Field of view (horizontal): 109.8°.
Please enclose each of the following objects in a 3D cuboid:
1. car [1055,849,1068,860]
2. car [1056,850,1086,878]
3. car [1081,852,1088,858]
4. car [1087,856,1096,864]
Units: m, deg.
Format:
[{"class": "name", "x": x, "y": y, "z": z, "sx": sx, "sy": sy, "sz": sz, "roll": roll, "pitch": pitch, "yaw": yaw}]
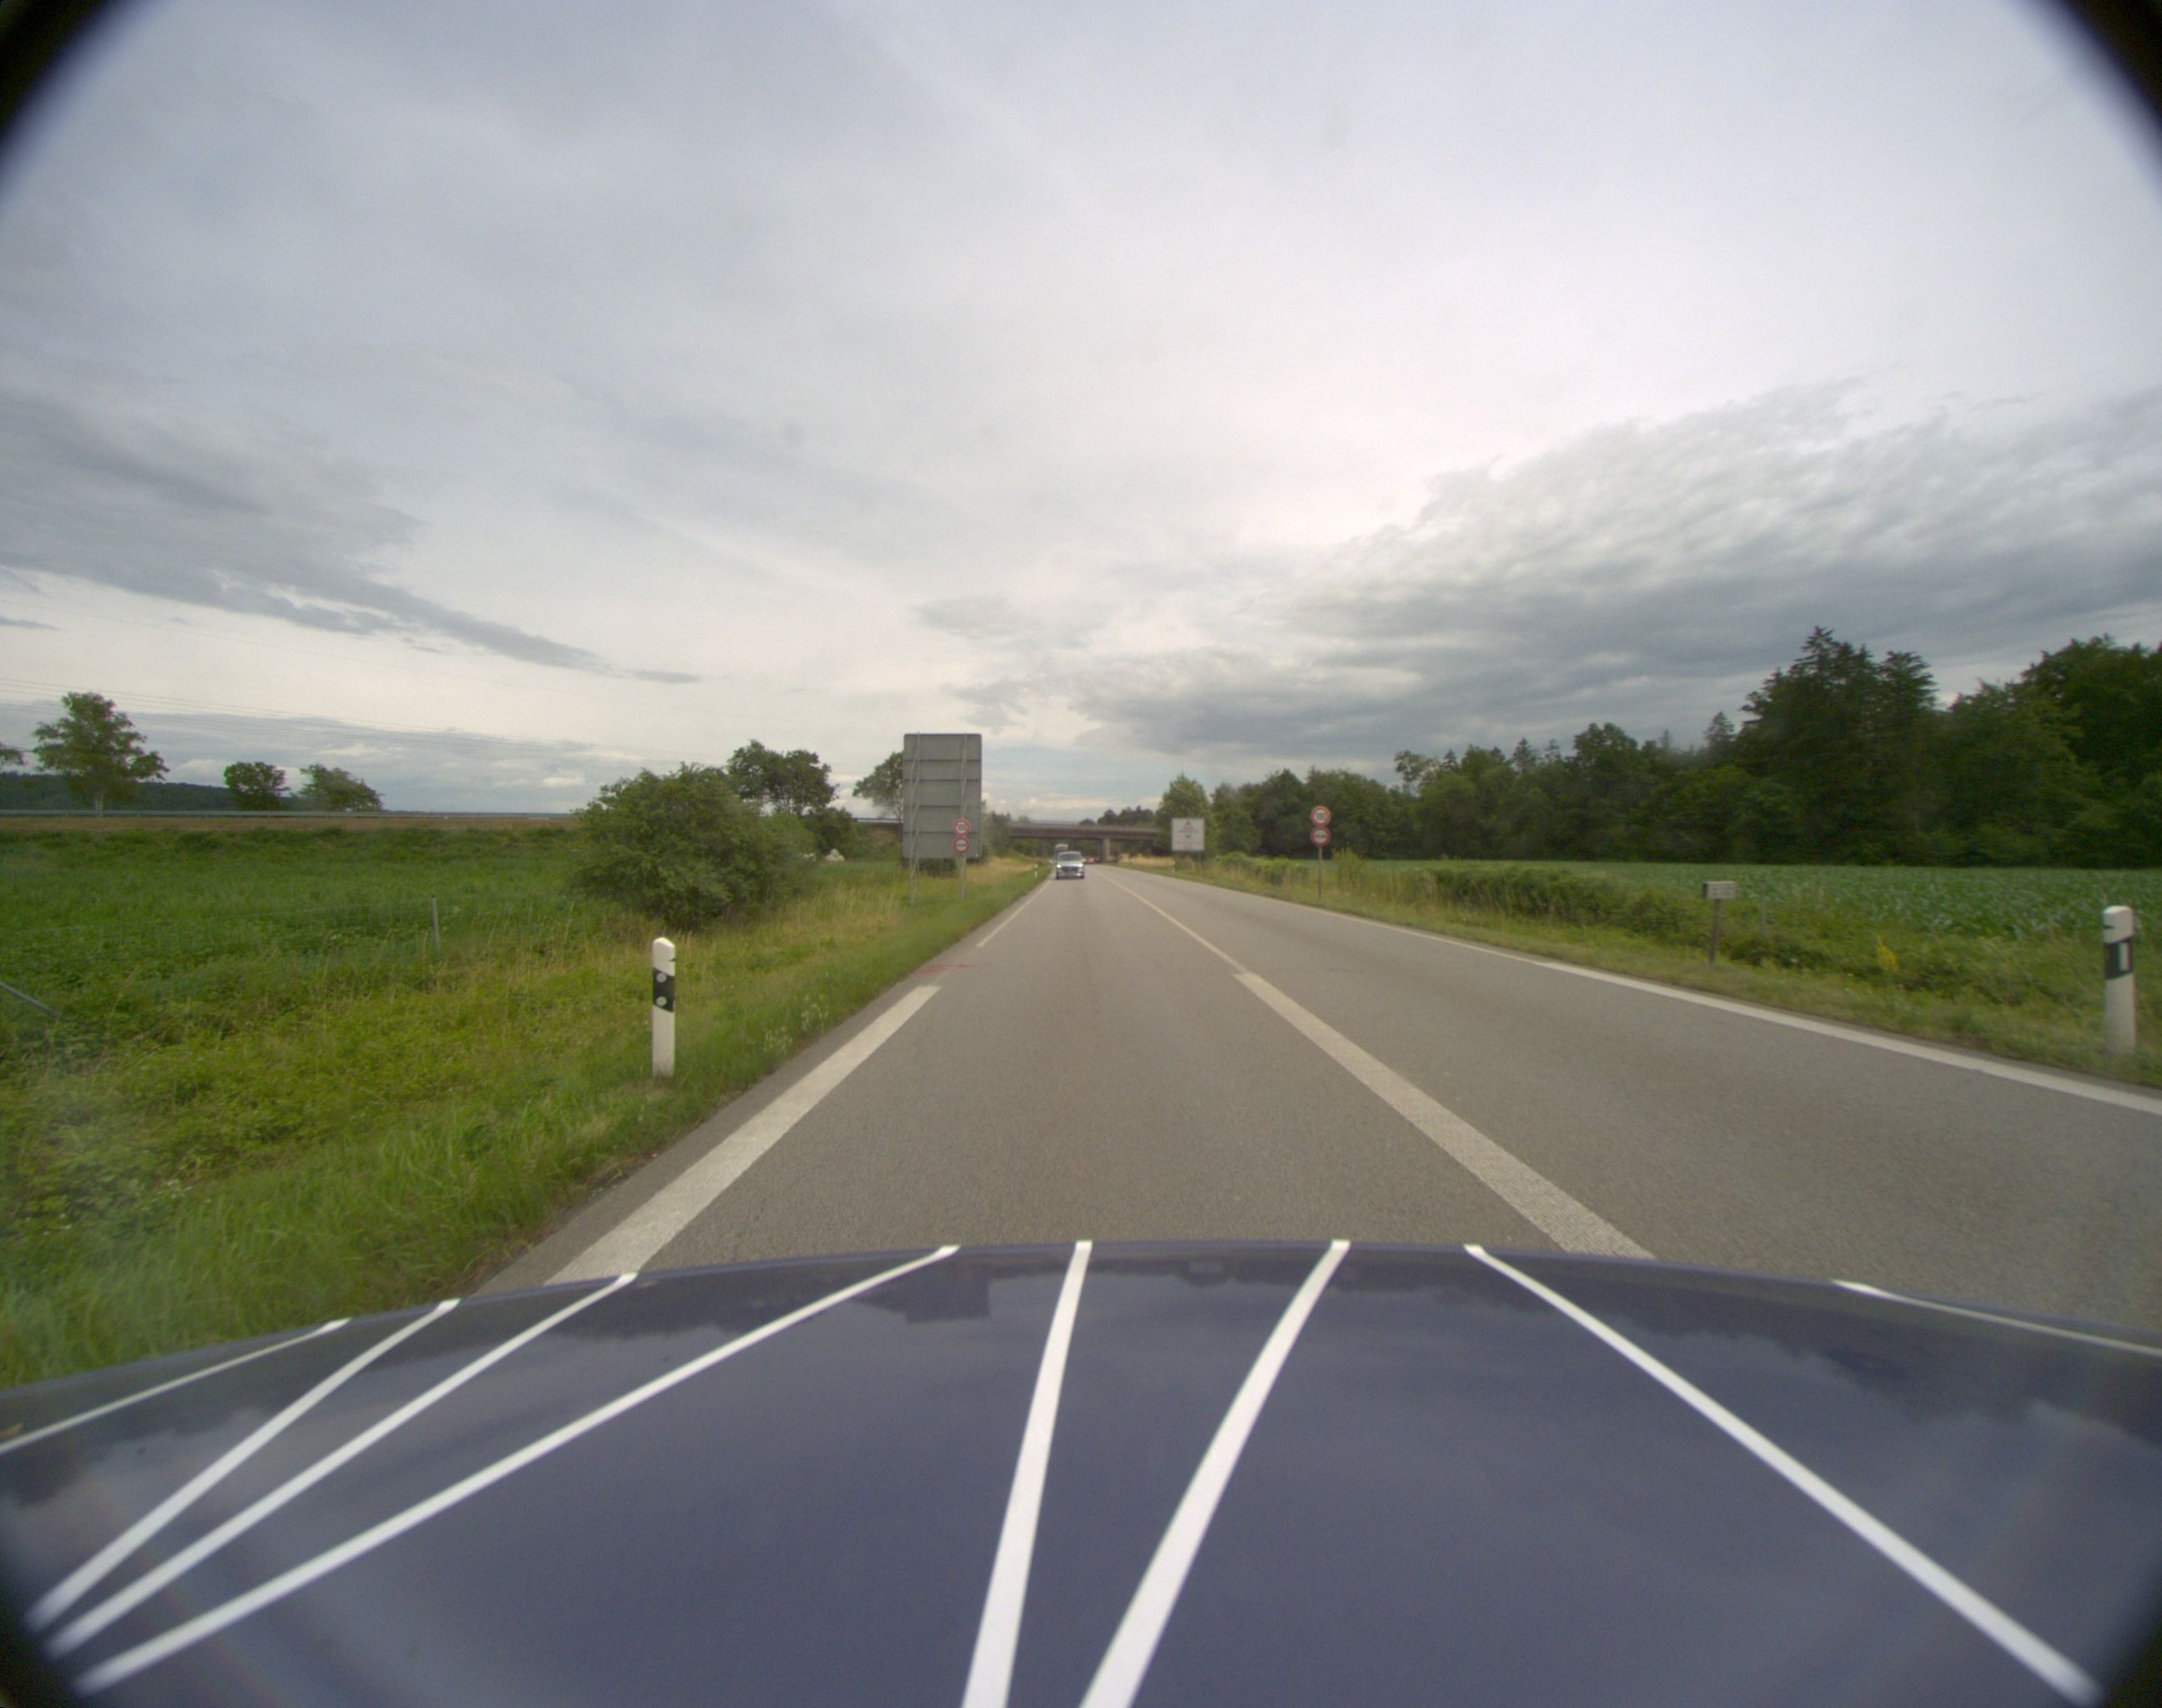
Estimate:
[{"class": "car", "x": -4.038, "y": 0.096, "z": 159.319, "sx": 1.997, "sy": 2.002, "sz": 4.002, "roll": -2, "pitch": 1, "yaw": 8}, {"class": "car", "x": -0.675, "y": 0.648, "z": 52.417, "sx": 1.923, "sy": 1.823, "sz": 3.999, "roll": -2, "pitch": 1, "yaw": -1}, {"class": "car", "x": 0.967, "y": 0.331, "z": 218.870, "sx": 1.800, "sy": 1.653, "sz": 3.999, "roll": -2, "pitch": 1, "yaw": -1}, {"class": "car", "x": 1.994, "y": 1.076, "z": 143.700, "sx": 1.771, "sy": 1.455, "sz": 4.000, "roll": -2, "pitch": 1, "yaw": 1}]
